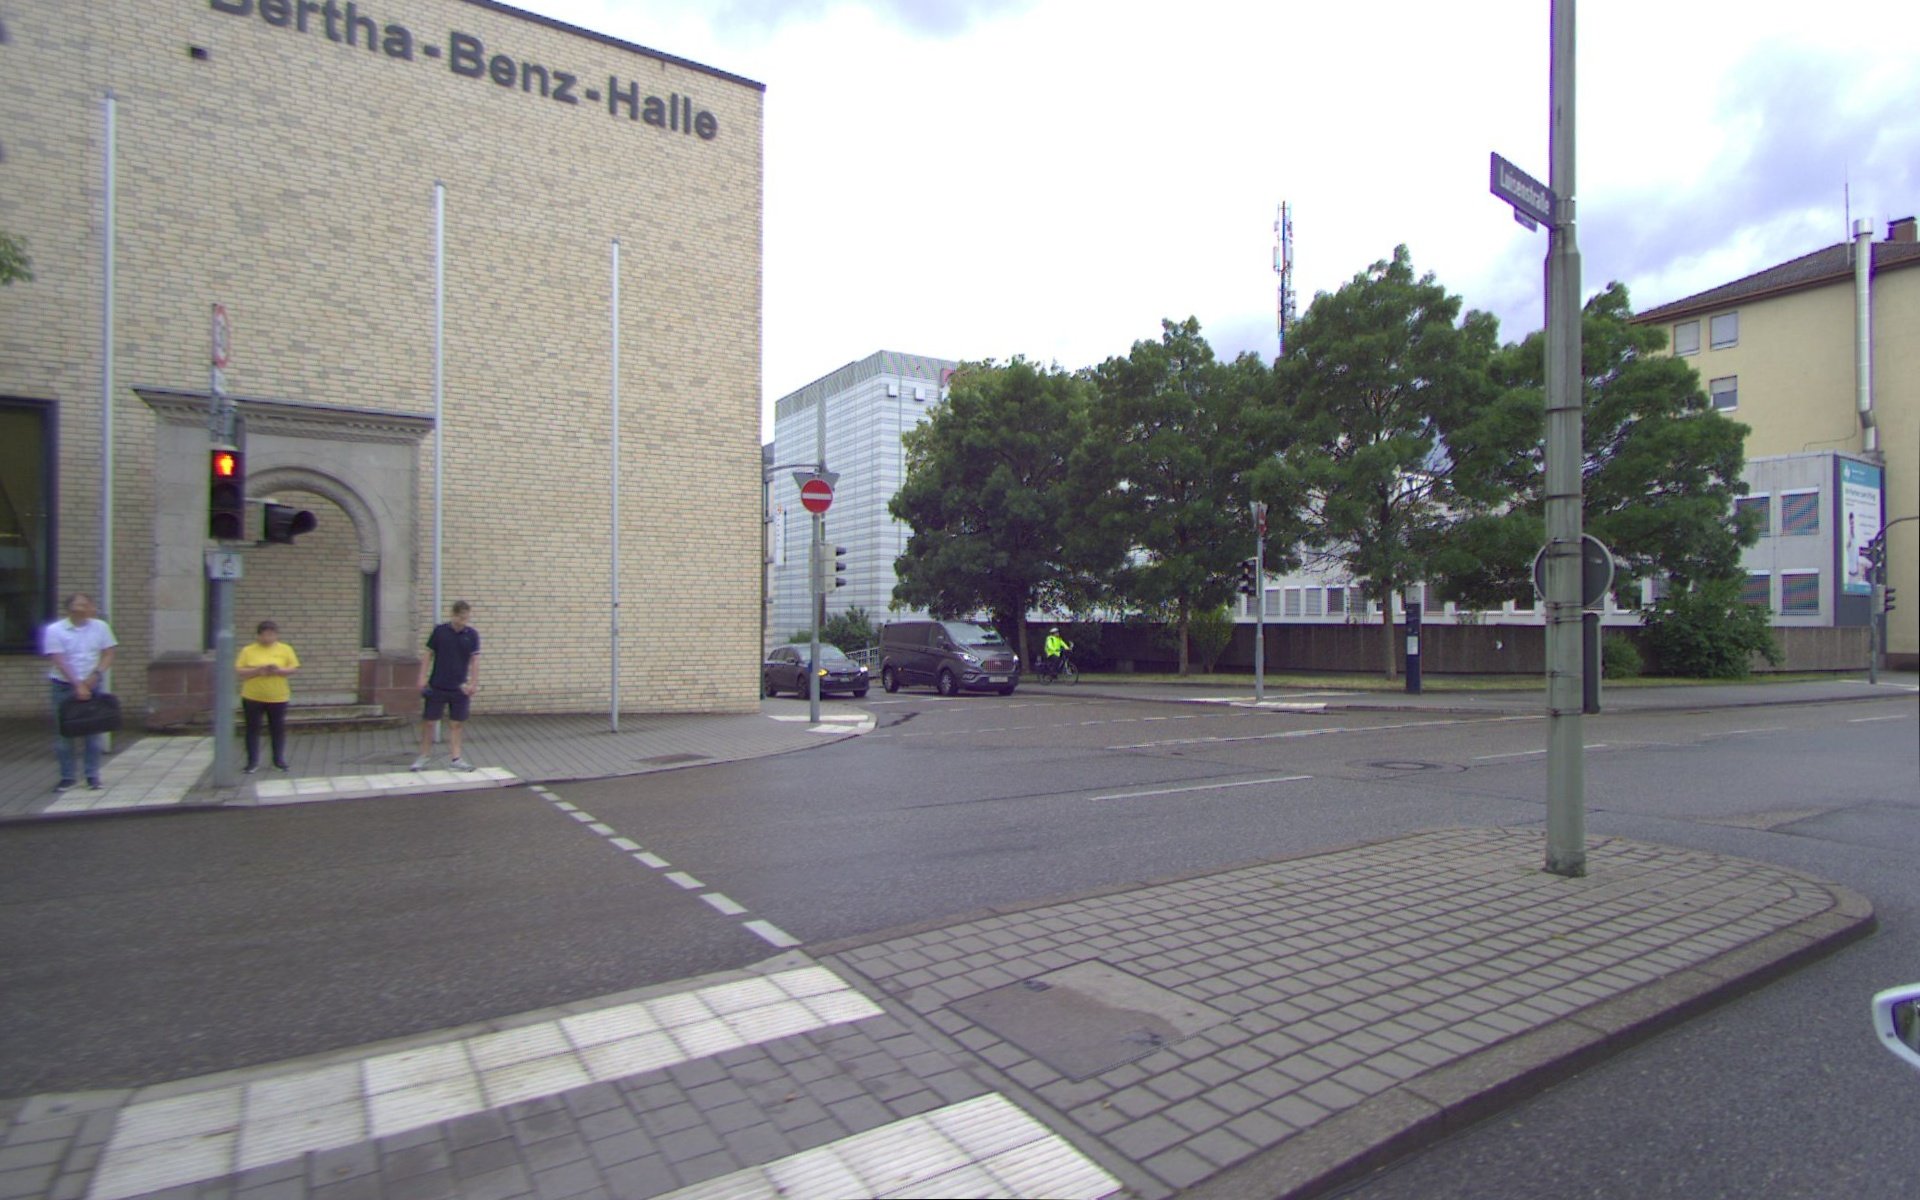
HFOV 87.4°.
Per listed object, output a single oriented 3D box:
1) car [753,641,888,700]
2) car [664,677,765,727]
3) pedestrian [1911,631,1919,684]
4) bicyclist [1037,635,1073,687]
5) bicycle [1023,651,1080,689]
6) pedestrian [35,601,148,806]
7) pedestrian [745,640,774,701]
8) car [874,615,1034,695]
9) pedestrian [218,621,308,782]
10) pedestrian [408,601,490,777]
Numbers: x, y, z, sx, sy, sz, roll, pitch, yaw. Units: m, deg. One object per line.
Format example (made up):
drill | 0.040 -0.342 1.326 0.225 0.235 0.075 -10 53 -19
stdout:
car | -3.830 1.914 27.058 1.981 1.460 3.962 2 -5 -36
car | -8.100 3.308 32.891 1.980 1.476 3.964 2 -5 -34
pedestrian | 31.261 1.856 32.325 0.801 1.712 0.714 2 0 -30
bicyclist | 2.801 1.792 29.685 0.739 1.489 0.810 2 -2 -31
bicycle | 2.700 2.063 29.841 0.740 1.054 1.823 -1 -1 -31
pedestrian | -7.793 0.895 9.038 0.686 1.754 0.590 2 0 -37
pedestrian | -4.814 1.686 24.145 0.469 1.394 0.617 2 0 -31
car | -0.279 1.548 27.025 1.980 1.950 4.749 2 -5 -34
pedestrian | -7.016 0.999 10.134 0.685 1.536 0.590 2 0 -33
pedestrian | -5.448 0.920 10.709 0.685 1.795 0.590 2 0 -33
